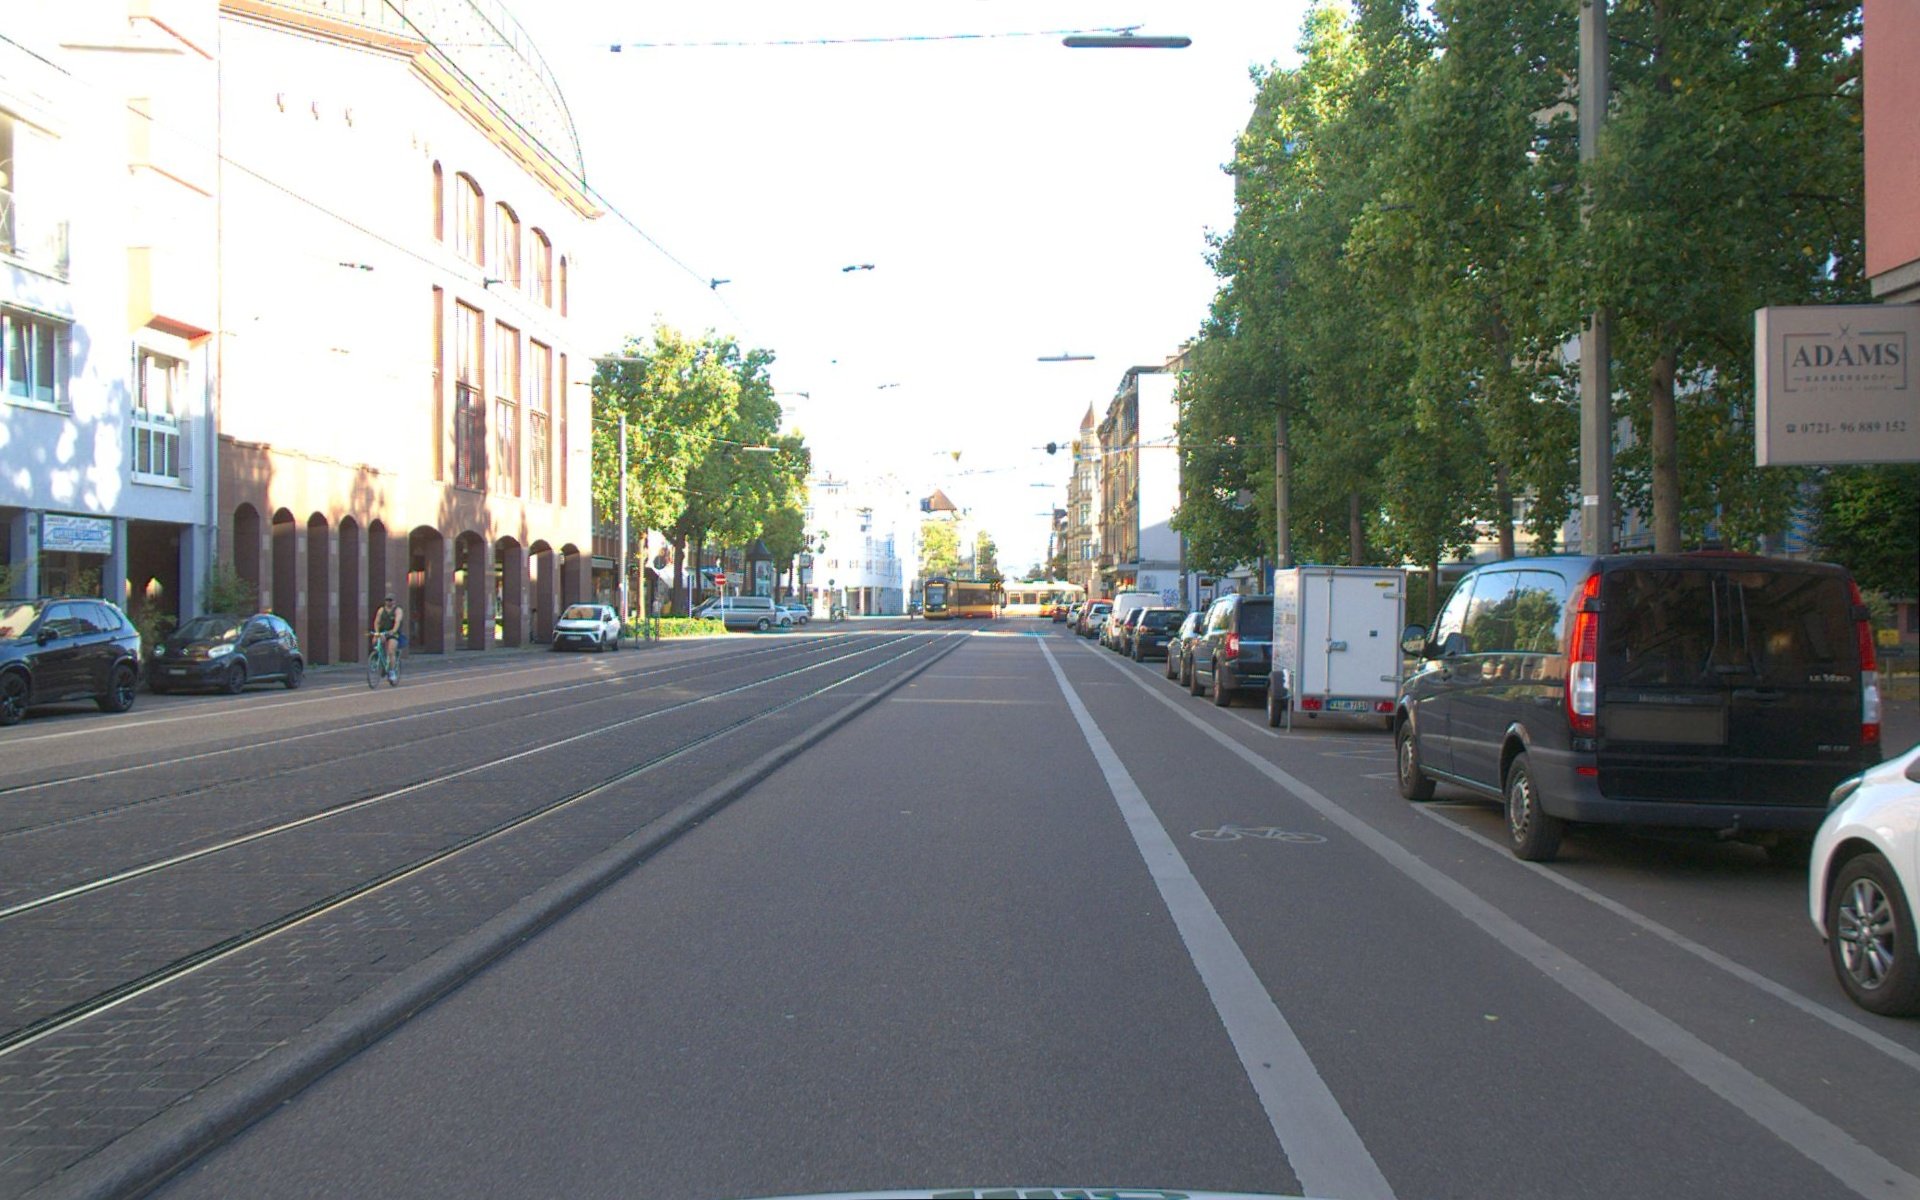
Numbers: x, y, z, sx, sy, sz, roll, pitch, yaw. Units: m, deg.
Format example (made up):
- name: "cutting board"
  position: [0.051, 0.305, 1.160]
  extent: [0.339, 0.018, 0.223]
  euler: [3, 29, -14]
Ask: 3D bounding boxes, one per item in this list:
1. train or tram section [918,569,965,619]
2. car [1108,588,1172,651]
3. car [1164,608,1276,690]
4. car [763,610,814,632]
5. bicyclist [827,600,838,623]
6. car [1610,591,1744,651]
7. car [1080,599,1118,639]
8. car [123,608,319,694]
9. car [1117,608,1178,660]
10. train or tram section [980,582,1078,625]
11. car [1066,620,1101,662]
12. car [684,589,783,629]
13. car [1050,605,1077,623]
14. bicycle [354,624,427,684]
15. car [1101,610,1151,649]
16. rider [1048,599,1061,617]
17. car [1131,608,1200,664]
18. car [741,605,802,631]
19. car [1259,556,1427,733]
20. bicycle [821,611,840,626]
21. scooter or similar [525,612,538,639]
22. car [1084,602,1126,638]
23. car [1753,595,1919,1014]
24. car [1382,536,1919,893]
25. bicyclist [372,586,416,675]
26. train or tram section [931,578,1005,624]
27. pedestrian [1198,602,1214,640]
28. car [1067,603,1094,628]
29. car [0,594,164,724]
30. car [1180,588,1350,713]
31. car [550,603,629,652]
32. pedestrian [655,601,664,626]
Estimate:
- name: "train or tram section"
  position: [-1.565, -0.473, 145.218]
  extent: [2.635, 4.029, 12.097]
  euler: [3, 0, 5]
- name: "car"
  position: [6.215, 0.658, 57.473]
  extent: [1.930, 2.049, 4.560]
  euler: [-1, 0, 3]
- name: "car"
  position: [5.281, 0.944, 34.059]
  extent: [1.681, 1.452, 4.676]
  euler: [1, 1, 2]
- name: "car"
  position: [-13.049, 1.613, 125.848]
  extent: [3.482, 1.507, 1.566]
  euler: [3, 0, -30]
- name: "bicyclist"
  position: [-11.265, 1.018, 146.025]
  extent: [0.691, 2.049, 0.716]
  euler: [3, -1, -32]
- name: "car"
  position: [19.719, 0.543, 45.683]
  extent: [1.827, 1.520, 4.437]
  euler: [0, 1, 1]
- name: "car"
  position: [6.912, 0.923, 82.279]
  extent: [1.587, 1.845, 4.084]
  euler: [2, 0, 2]
- name: "car"
  position: [-13.905, 0.925, 31.332]
  extent: [1.830, 1.476, 3.585]
  euler: [2, -1, 5]
- name: "car"
  position: [5.800, 1.029, 51.604]
  extent: [1.587, 1.499, 3.972]
  euler: [1, 0, 2]
- name: "train or tram section"
  position: [7.024, 0.402, 166.250]
  extent: [11.196, 3.818, 2.658]
  euler: [3, -1, -43]
- name: "car"
  position: [6.456, 2.127, 86.654]
  extent: [1.587, 2.041, 3.832]
  euler: [2, 0, 2]
- name: "car"
  position: [-13.164, 0.564, 96.185]
  extent: [5.196, 2.078, 2.394]
  euler: [3, -2, -30]
- name: "car"
  position: [8.445, 1.139, 135.758]
  extent: [2.023, 1.413, 4.226]
  euler: [3, 0, 2]
- name: "bicycle"
  position: [-11.217, 1.048, 32.624]
  extent: [0.570, 1.096, 2.186]
  euler: [-1, 0, 3]
- name: "car"
  position: [6.351, 1.116, 63.727]
  extent: [1.587, 1.394, 3.931]
  euler: [2, 0, 2]
- name: "rider"
  position: [8.180, 0.699, 143.057]
  extent: [0.867, 1.507, 0.711]
  euler: [2, -1, 32]
- name: "car"
  position: [5.704, 0.971, 46.219]
  extent: [1.587, 1.457, 3.986]
  euler: [1, 0, 3]
- name: "car"
  position: [-13.154, 1.256, 115.471]
  extent: [3.826, 1.656, 1.858]
  euler: [3, 0, -29]
- name: "car"
  position: [5.095, 0.581, 22.400]
  extent: [1.669, 2.157, 3.708]
  euler: [1, -1, 5]
- name: "bicycle"
  position: [-11.446, 1.608, 146.258]
  extent: [0.692, 1.261, 2.002]
  euler: [3, 0, -34]
- name: "scooter or similar"
  position: [-15.391, 0.910, 59.448]
  extent: [0.357, 0.955, 0.968]
  euler: [3, 0, -18]
- name: "car"
  position: [6.668, 0.920, 76.191]
  extent: [1.687, 1.595, 4.084]
  euler: [0, 0, 2]
- name: "car"
  position: [4.351, 0.768, 5.304]
  extent: [1.695, 1.522, 3.961]
  euler: [2, 0, 0]
- name: "car"
  position: [4.457, 0.639, 11.651]
  extent: [1.914, 1.901, 4.991]
  euler: [2, 0, 3]
- name: "bicyclist"
  position: [-11.222, 0.604, 32.815]
  extent: [0.559, 1.742, 0.746]
  euler: [-1, -1, 2]
- name: "train or tram section"
  position: [0.896, 0.132, 156.769]
  extent: [2.637, 3.945, 12.844]
  euler: [3, 0, 20]
- name: "pedestrian"
  position: [11.556, 0.988, 77.678]
  extent: [0.647, 1.752, 0.835]
  euler: [1, -1, 3]
- name: "car"
  position: [7.945, 1.000, 109.190]
  extent: [1.587, 1.582, 4.084]
  euler: [2, 0, 2]
- name: "car"
  position: [-13.862, 0.795, 24.091]
  extent: [2.047, 1.743, 4.819]
  euler: [2, -1, 1]
- name: "car"
  position: [4.959, 0.775, 27.637]
  extent: [1.909, 1.819, 5.182]
  euler: [2, 0, 1]
- name: "car"
  position: [-12.975, 0.938, 58.168]
  extent: [1.831, 1.628, 4.253]
  euler: [1, 0, -1]
- name: "pedestrian"
  position: [-16.891, 0.749, 92.956]
  extent: [0.357, 1.366, 0.480]
  euler: [3, -1, -18]
